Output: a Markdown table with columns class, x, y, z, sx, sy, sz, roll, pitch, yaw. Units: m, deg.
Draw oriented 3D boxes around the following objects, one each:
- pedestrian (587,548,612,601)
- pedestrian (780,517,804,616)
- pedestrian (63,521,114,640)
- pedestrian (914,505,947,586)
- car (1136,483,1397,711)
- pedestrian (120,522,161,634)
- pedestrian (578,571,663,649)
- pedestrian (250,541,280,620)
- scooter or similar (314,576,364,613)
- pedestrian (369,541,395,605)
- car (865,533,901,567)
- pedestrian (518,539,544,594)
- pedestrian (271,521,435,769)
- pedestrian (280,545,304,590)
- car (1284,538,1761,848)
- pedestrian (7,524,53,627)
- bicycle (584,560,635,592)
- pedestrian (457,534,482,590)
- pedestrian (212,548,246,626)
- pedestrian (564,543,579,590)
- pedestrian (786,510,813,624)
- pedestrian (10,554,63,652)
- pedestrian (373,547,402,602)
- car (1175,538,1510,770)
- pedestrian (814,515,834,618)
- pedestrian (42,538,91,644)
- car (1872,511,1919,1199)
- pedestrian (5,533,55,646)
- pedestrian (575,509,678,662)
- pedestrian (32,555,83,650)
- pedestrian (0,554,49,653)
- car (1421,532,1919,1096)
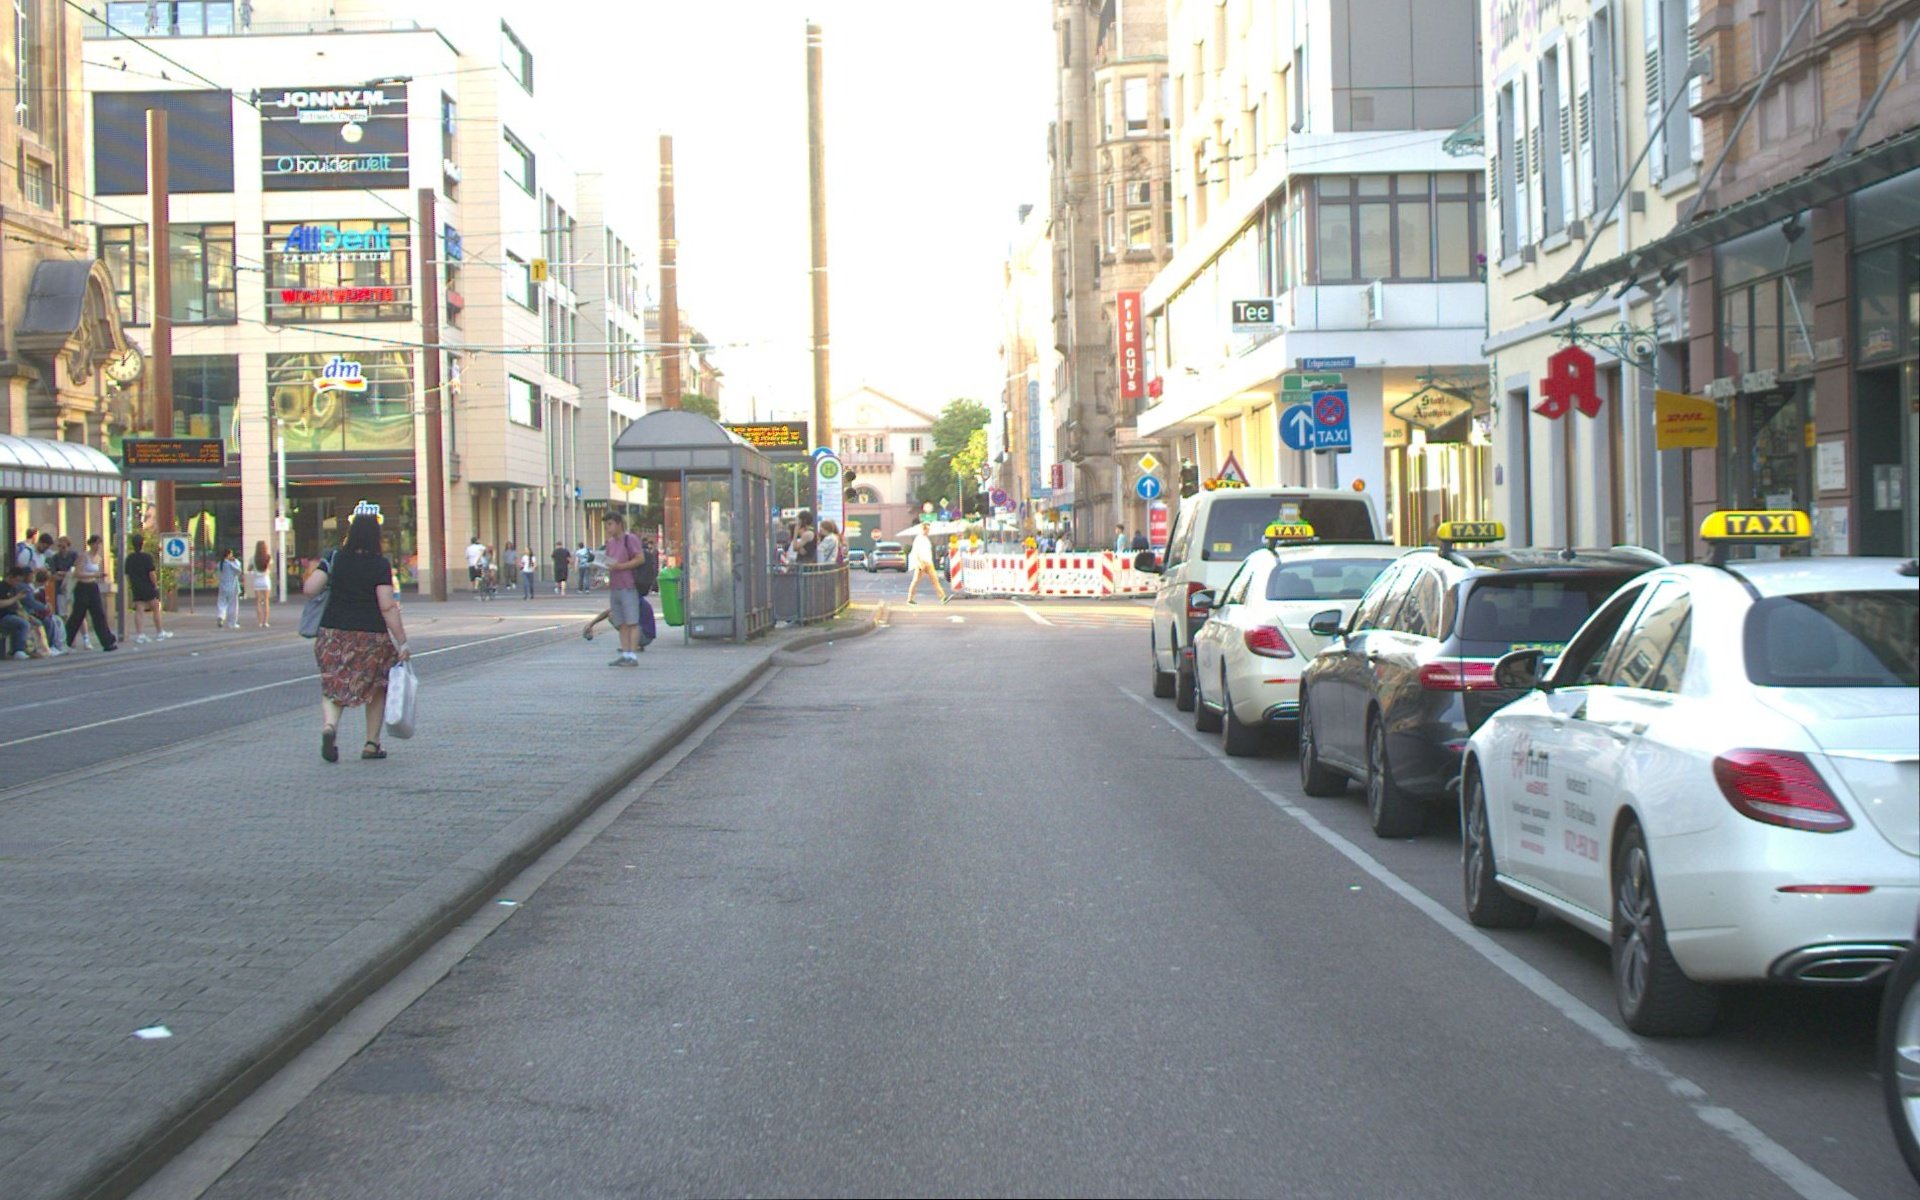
| class | x | y | z | sx | sy | sz | roll | pitch | yaw |
| --- | --- | --- | --- | --- | --- | --- | --- | --- | --- |
| pedestrian | -11.837 | -0.845 | 112.770 | 0.782 | 1.745 | 0.600 | 0 | 0 | -4 |
| pedestrian | -2.774 | -0.555 | 56.803 | 0.385 | 1.636 | 0.549 | 0 | 0 | -3 |
| pedestrian | -12.469 | -0.273 | 49.208 | 0.674 | 1.685 | 0.638 | -1 | 0 | -13 |
| pedestrian | -0.666 | -1.228 | 77.471 | 0.699 | 1.809 | 0.852 | 0 | 1 | 1 |
| car | 2.757 | -0.046 | 31.879 | 1.876 | 1.917 | 4.700 | 1 | 0 | -1 |
| pedestrian | -12.973 | -0.351 | 54.427 | 0.559 | 1.770 | 0.469 | -1 | 1 | -5 |
| pedestrian | -4.177 | 0.121 | 42.283 | 0.799 | 0.936 | 0.692 | 0 | 1 | 22 |
| pedestrian | -13.470 | -0.389 | 66.643 | 0.525 | 1.520 | 0.503 | -1 | 1 | -14 |
| scooter or similar | -15.965 | -0.142 | 88.362 | 1.093 | 0.901 | 0.890 | -1 | 1 | 1 |
| pedestrian | -14.539 | -0.680 | 86.422 | 0.569 | 1.587 | 0.448 | -1 | 1 | -3 |
| car | -4.238 | -2.744 | 189.490 | 1.993 | 1.897 | 4.000 | 0 | 0 | -1 |
| pedestrian | -13.240 | -1.029 | 106.157 | 0.649 | 1.668 | 0.530 | -1 | 1 | 8 |
| pedestrian | -3.750 | 0.264 | 21.303 | 0.846 | 1.496 | 0.901 | -1 | 1 | -1 |
| pedestrian | -22.866 | -1.115 | 117.707 | 0.573 | 1.521 | 0.790 | 0 | 0 | 11 |
| car | 2.908 | 0.423 | 18.797 | 1.726 | 1.472 | 4.821 | 0 | 0 | -1 |
| pedestrian | -16.153 | -0.425 | 59.737 | 0.620 | 1.770 | 0.706 | -1 | 1 | -4 |
| bicycle | -12.221 | -0.839 | 119.859 | 1.696 | 1.118 | 0.451 | 0 | 0 | 2 |
| pedestrian | -16.349 | -1.266 | 114.645 | 0.573 | 1.848 | 0.816 | 0 | 0 | 11 |
| pedestrian | -14.210 | -0.257 | 66.828 | 0.518 | 1.520 | 0.501 | -1 | 1 | 3 |
| pedestrian | -12.663 | -1.092 | 112.060 | 0.390 | 1.510 | 0.506 | -1 | 1 | -2 |
| pedestrian | -2.507 | -0.515 | 53.794 | 0.412 | 1.761 | 0.594 | 0 | 0 | -3 |
| pedestrian | -12.724 | 0.040 | 47.371 | 0.518 | 1.323 | 0.638 | -1 | 0 | 3 |
| pedestrian | -14.719 | -0.662 | 88.403 | 0.639 | 1.415 | 0.418 | -1 | 1 | 1 |
| car | 2.687 | 0.316 | 25.207 | 1.806 | 1.478 | 4.779 | 1 | 1 | -1 |
| pedestrian | -2.353 | -0.579 | 59.627 | 0.341 | 1.789 | 0.544 | 0 | 0 | -3 |
| pedestrian | -13.330 | -0.139 | 51.298 | 0.518 | 1.564 | 0.638 | -1 | 0 | 3 |
| car | 2.912 | 0.628 | 5.707 | 1.733 | 1.585 | 4.441 | 1 | 0 | 2 |
| pedestrian | -13.667 | -0.150 | 50.529 | 0.518 | 1.640 | 0.638 | -1 | 0 | 3 |
| pedestrian | -3.612 | -0.160 | 37.249 | 0.687 | 1.632 | 0.859 | 0 | 1 | 40 |
| pedestrian | -12.662 | 0.032 | 48.242 | 0.518 | 1.323 | 0.638 | -1 | 0 | 3 |
| pedestrian | -12.712 | 0.047 | 46.603 | 0.518 | 1.323 | 0.638 | -1 | 0 | 3 |
| car | 2.844 | 0.565 | 11.671 | 1.732 | 1.506 | 4.865 | 1 | 0 | -2 |
